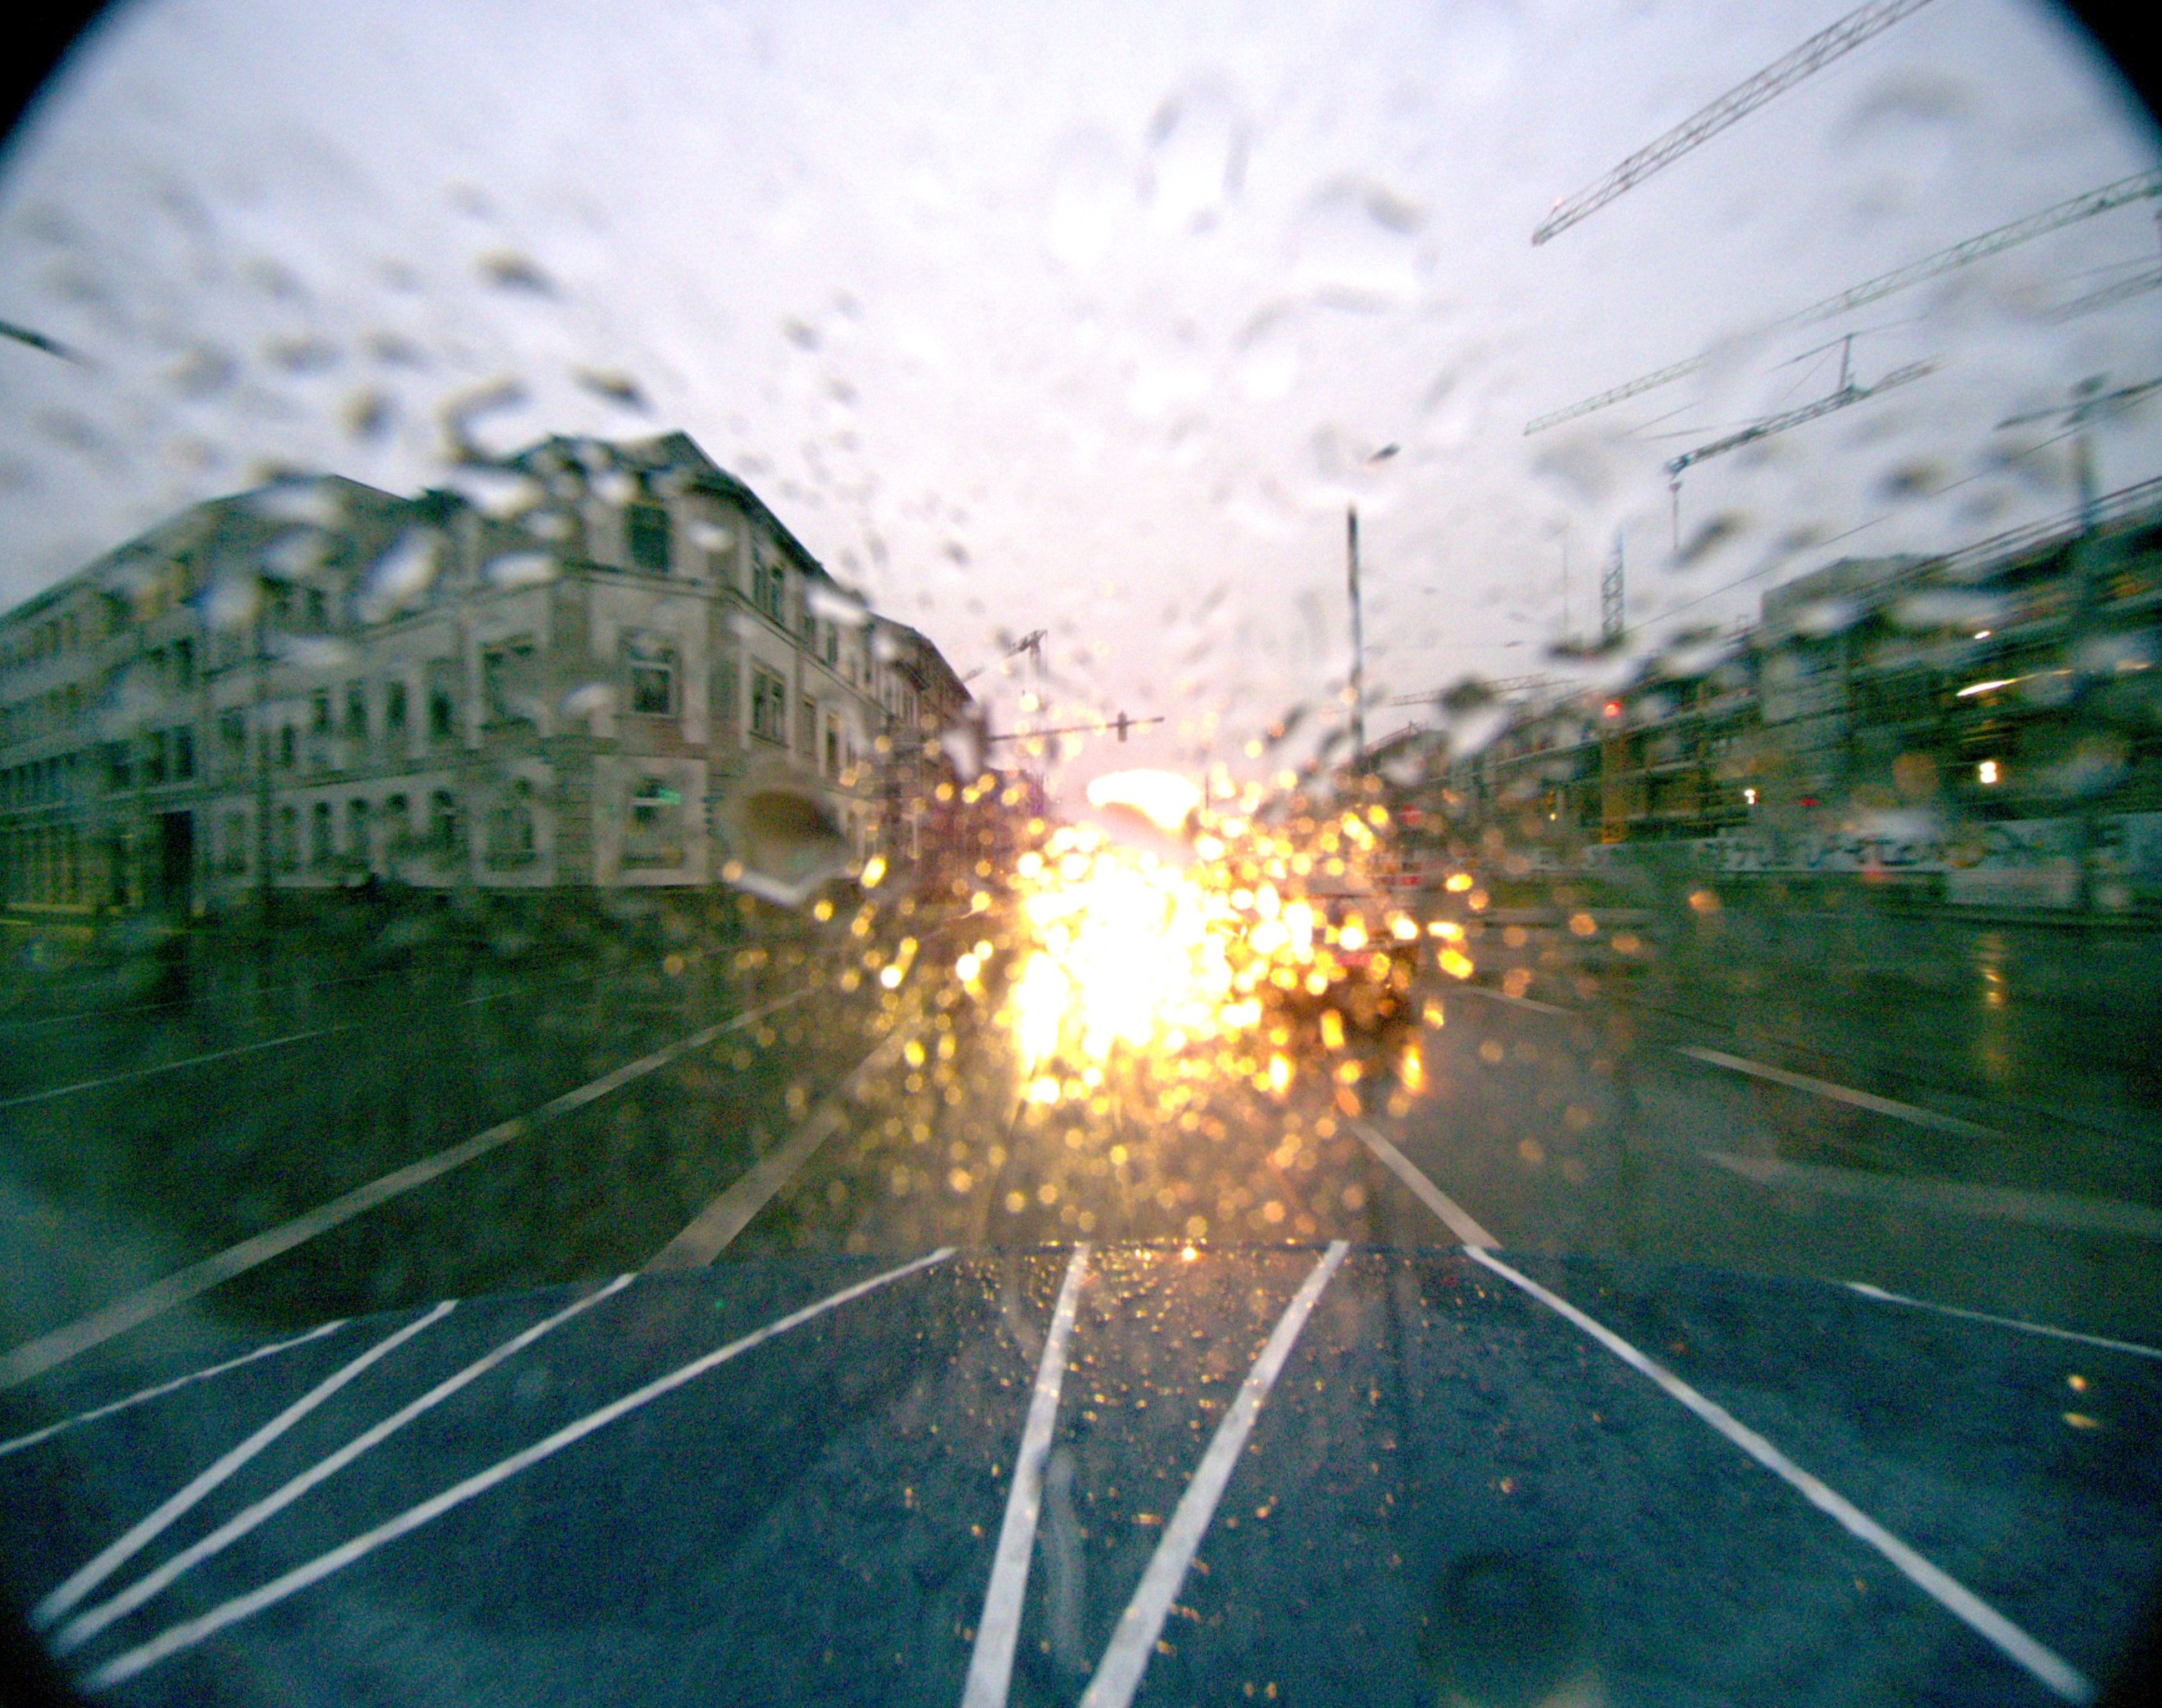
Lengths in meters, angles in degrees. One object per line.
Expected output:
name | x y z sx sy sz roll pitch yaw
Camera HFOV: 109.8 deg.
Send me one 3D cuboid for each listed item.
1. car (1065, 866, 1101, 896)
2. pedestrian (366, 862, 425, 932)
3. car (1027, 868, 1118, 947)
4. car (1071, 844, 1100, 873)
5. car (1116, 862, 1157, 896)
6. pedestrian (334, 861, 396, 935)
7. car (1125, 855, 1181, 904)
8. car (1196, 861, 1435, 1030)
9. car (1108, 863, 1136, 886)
car | 0.048 1.388 40.326 1.764 1.443 4.000 -2 0 -1
pedestrian | -19.927 1.234 22.093 0.976 1.969 0.869 -2 0 23
car | -0.209 1.111 17.233 1.764 1.443 4.000 -2 0 -1
car | 0.254 0.294 52.274 1.858 1.886 4.000 -2 0 -1
car | 2.994 1.314 41.658 1.844 1.644 4.324 -2 0 0
pedestrian | -19.852 1.203 21.077 0.976 1.969 0.869 -2 0 23
car | 2.697 0.925 29.398 1.858 1.723 4.001 -2 0 2
car | 2.623 0.927 9.506 1.764 1.584 4.000 -2 0 1
car | 3.091 1.537 58.194 1.844 1.547 4.000 -2 0 0
